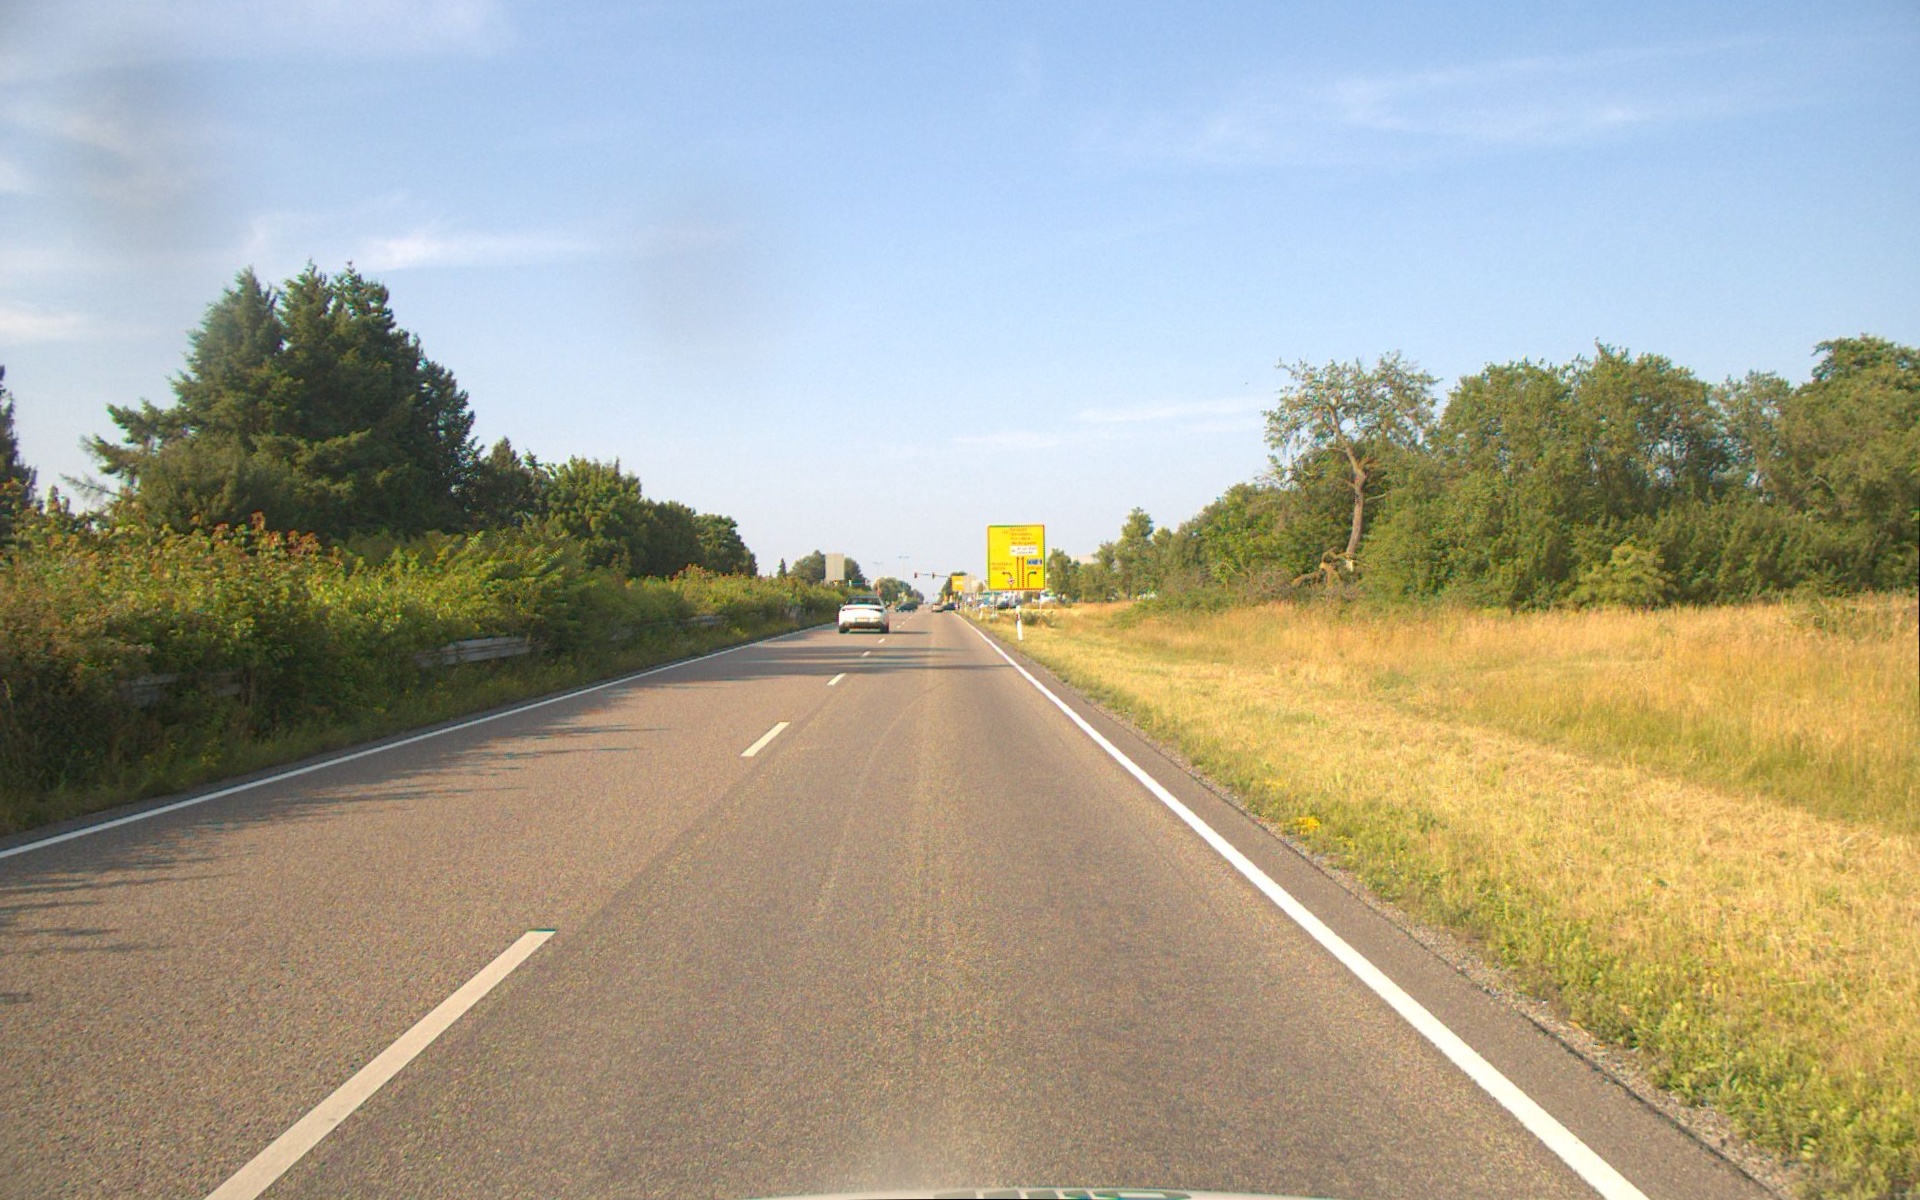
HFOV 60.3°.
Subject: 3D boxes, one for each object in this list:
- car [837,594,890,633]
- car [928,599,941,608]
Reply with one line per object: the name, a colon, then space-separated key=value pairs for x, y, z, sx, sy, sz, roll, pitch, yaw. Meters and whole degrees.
car: x=-3.680 y=0.505 z=63.477 sx=1.871 sy=1.447 sz=3.999 roll=1 pitch=0 yaw=-2
car: x=-3.972 y=0.533 z=259.636 sx=1.953 sy=1.512 sz=3.999 roll=1 pitch=0 yaw=-2
